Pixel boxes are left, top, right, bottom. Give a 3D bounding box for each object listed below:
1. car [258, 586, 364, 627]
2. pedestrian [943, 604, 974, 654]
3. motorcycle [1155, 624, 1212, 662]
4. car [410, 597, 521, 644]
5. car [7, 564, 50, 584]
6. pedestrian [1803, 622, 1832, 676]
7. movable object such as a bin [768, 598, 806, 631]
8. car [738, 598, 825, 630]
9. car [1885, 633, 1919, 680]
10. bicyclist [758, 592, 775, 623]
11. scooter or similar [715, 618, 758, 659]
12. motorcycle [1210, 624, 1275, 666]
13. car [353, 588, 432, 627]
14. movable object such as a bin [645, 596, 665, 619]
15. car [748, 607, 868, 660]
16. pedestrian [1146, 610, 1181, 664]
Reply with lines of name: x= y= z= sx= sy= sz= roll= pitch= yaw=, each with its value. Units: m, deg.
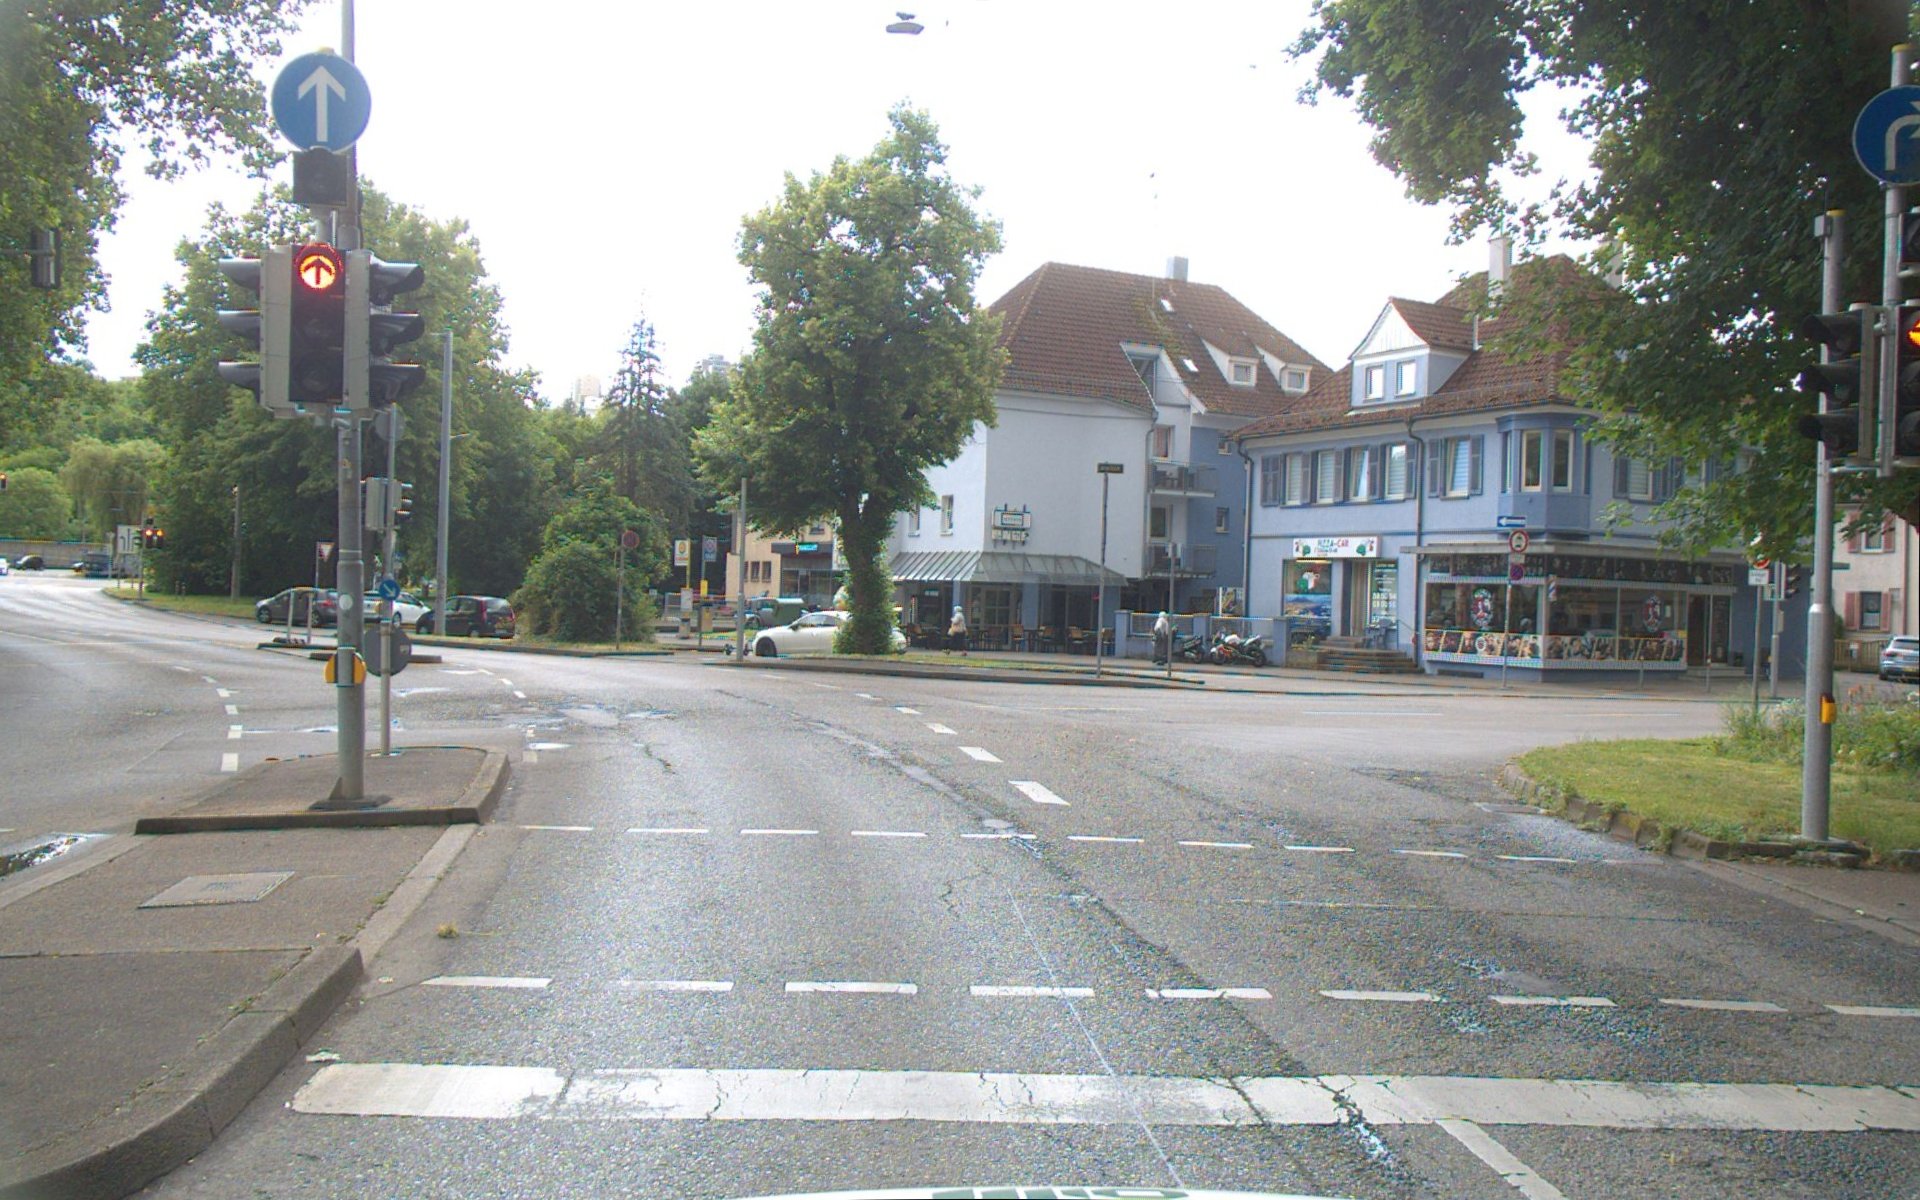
car: x=-24.859 y=0.244 z=63.400 sx=3.469 sy=1.490 sz=1.586 roll=1 pitch=0 yaw=12
pedestrian: x=-0.049 y=0.925 z=52.966 sx=0.694 sy=1.572 sz=0.675 roll=1 pitch=0 yaw=39
motorcycle: x=6.791 y=1.291 z=50.241 sx=1.609 sy=1.082 sz=0.690 roll=1 pitch=0 yaw=44
car: x=-16.008 y=0.658 z=53.468 sx=3.519 sy=1.418 sz=1.468 roll=1 pitch=0 yaw=32
car: x=-102.210 y=-2.828 z=181.500 sx=3.948 sy=2.049 sz=1.978 roll=1 pitch=0 yaw=-32
pedestrian: x=24.696 y=1.407 z=47.619 sx=0.451 sy=1.544 sz=0.584 roll=1 pitch=-1 yaw=-21
movable object such as a bin: x=-7.718 y=0.656 z=73.847 sx=1.424 sy=1.433 sz=0.959 roll=1 pitch=0 yaw=-27
car: x=-8.158 y=0.639 z=75.737 sx=3.690 sy=1.368 sz=1.421 roll=1 pitch=0 yaw=-27
car: x=29.851 y=1.735 z=51.417 sx=1.471 sy=1.393 sz=3.164 roll=1 pitch=0 yaw=38
bicyclist: x=-9.875 y=0.368 z=84.592 sx=0.726 sy=1.568 sz=0.597 roll=1 pitch=0 yaw=-19
scooter or similar: x=-5.731 y=0.981 z=42.546 sx=0.408 sy=1.029 sz=1.567 roll=1 pitch=0 yaw=20
motorcycle: x=8.272 y=1.308 z=48.485 sx=1.765 sy=1.141 sz=0.692 roll=1 pitch=0 yaw=38
car: x=-22.669 y=0.306 z=66.190 sx=1.512 sy=1.490 sz=3.398 roll=1 pitch=0 yaw=10
movable object such as a bin: x=-15.852 y=0.393 z=85.920 sx=0.937 sy=1.135 sz=0.381 roll=1 pitch=0 yaw=-22
car: x=-4.246 y=0.916 z=45.963 sx=3.110 sy=1.378 sz=1.435 roll=1 pitch=0 yaw=34
pedestrian: x=5.993 y=1.088 z=48.769 sx=0.754 sy=1.572 sz=0.675 roll=1 pitch=-1 yaw=38
